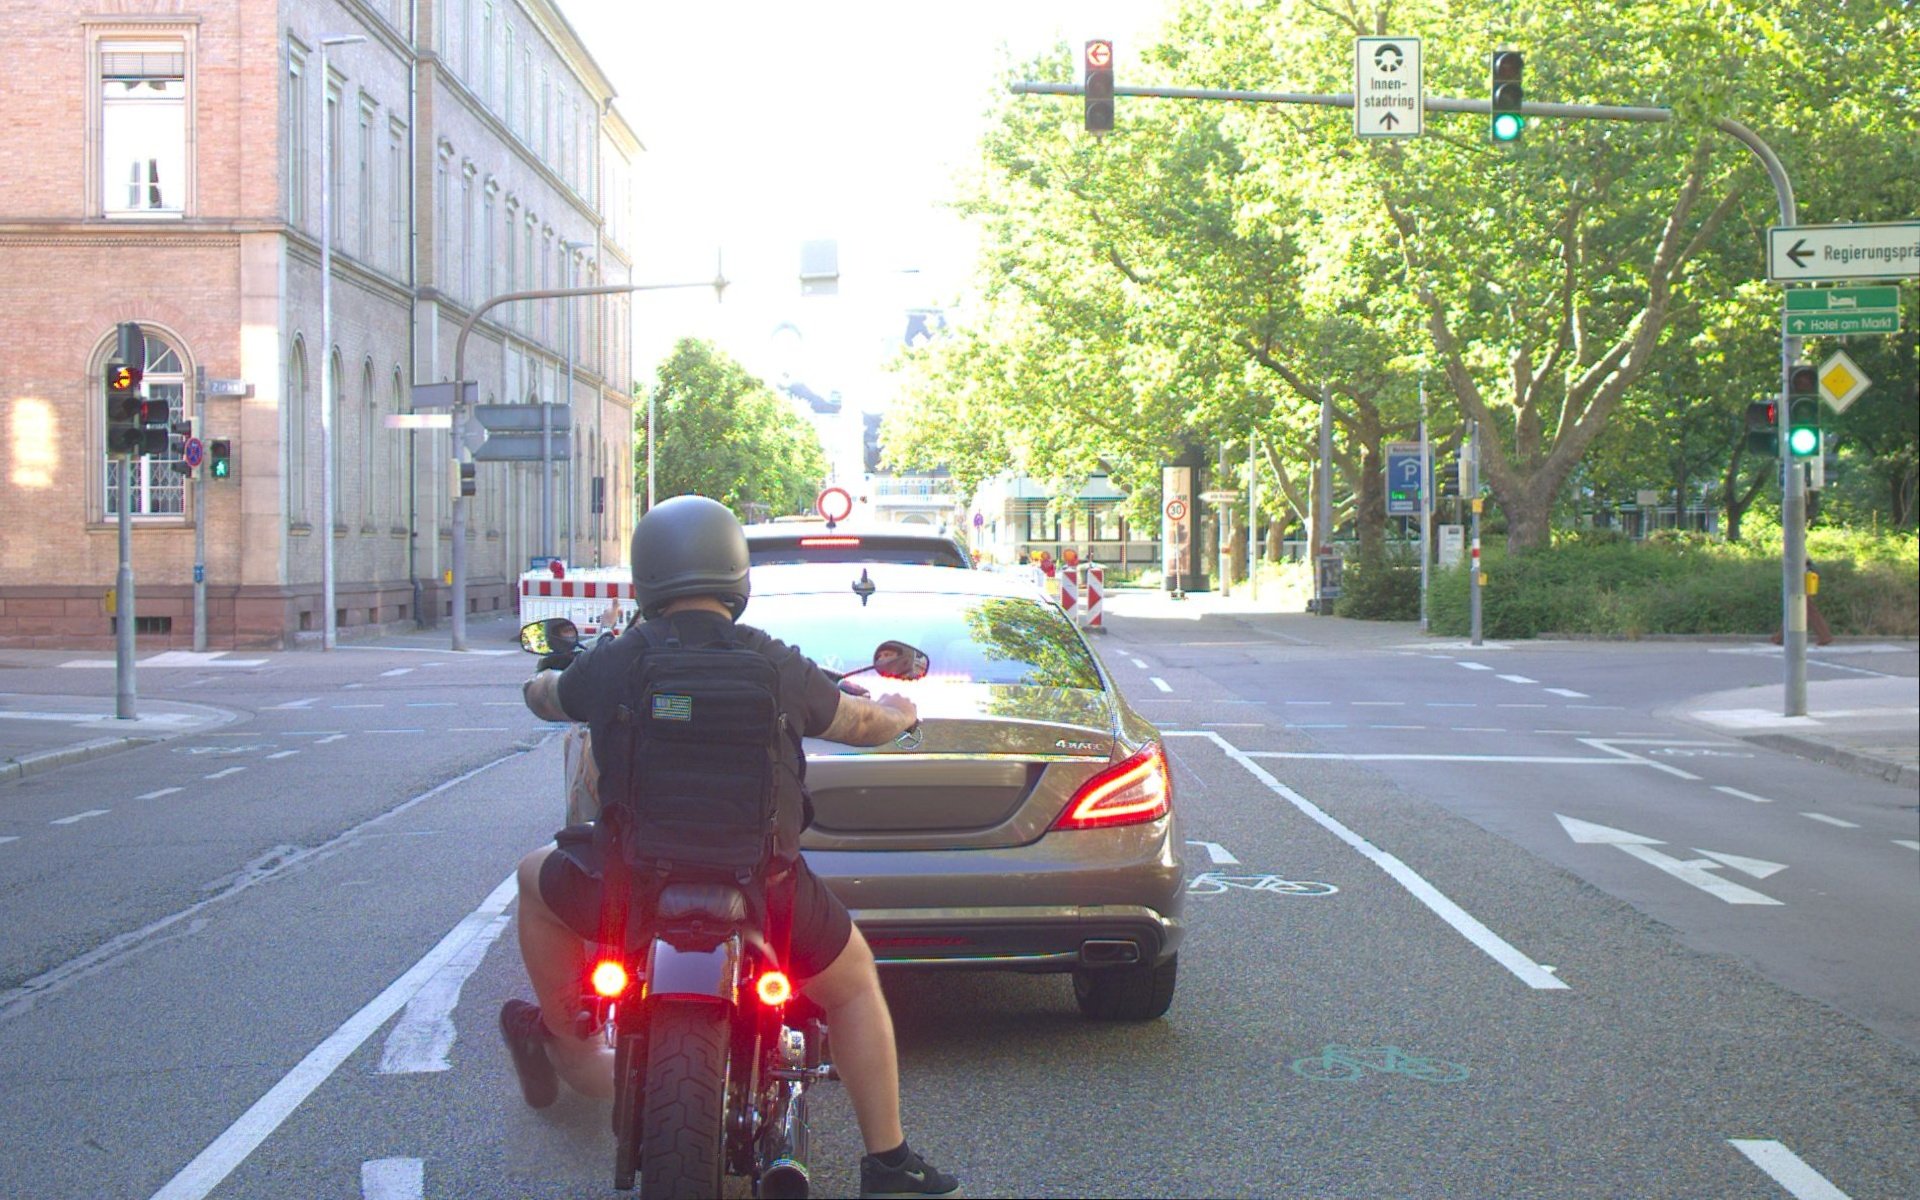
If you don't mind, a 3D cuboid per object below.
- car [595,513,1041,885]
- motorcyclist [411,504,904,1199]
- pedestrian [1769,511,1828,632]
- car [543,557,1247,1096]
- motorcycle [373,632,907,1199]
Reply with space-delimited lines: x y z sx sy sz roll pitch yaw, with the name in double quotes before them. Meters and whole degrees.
"car" -0.666 0.428 17.575 1.993 1.660 4.000 1 1 -1
"motorcyclist" -0.617 0.582 7.526 0.980 1.573 1.248 0 1 -1
"pedestrian" 12.331 -0.419 50.534 0.678 1.766 0.616 1 0 29
"car" -0.433 0.586 11.653 1.869 1.439 4.431 0 1 -8
"motorcycle" -0.613 0.738 7.594 0.980 1.271 2.407 0 1 -1
